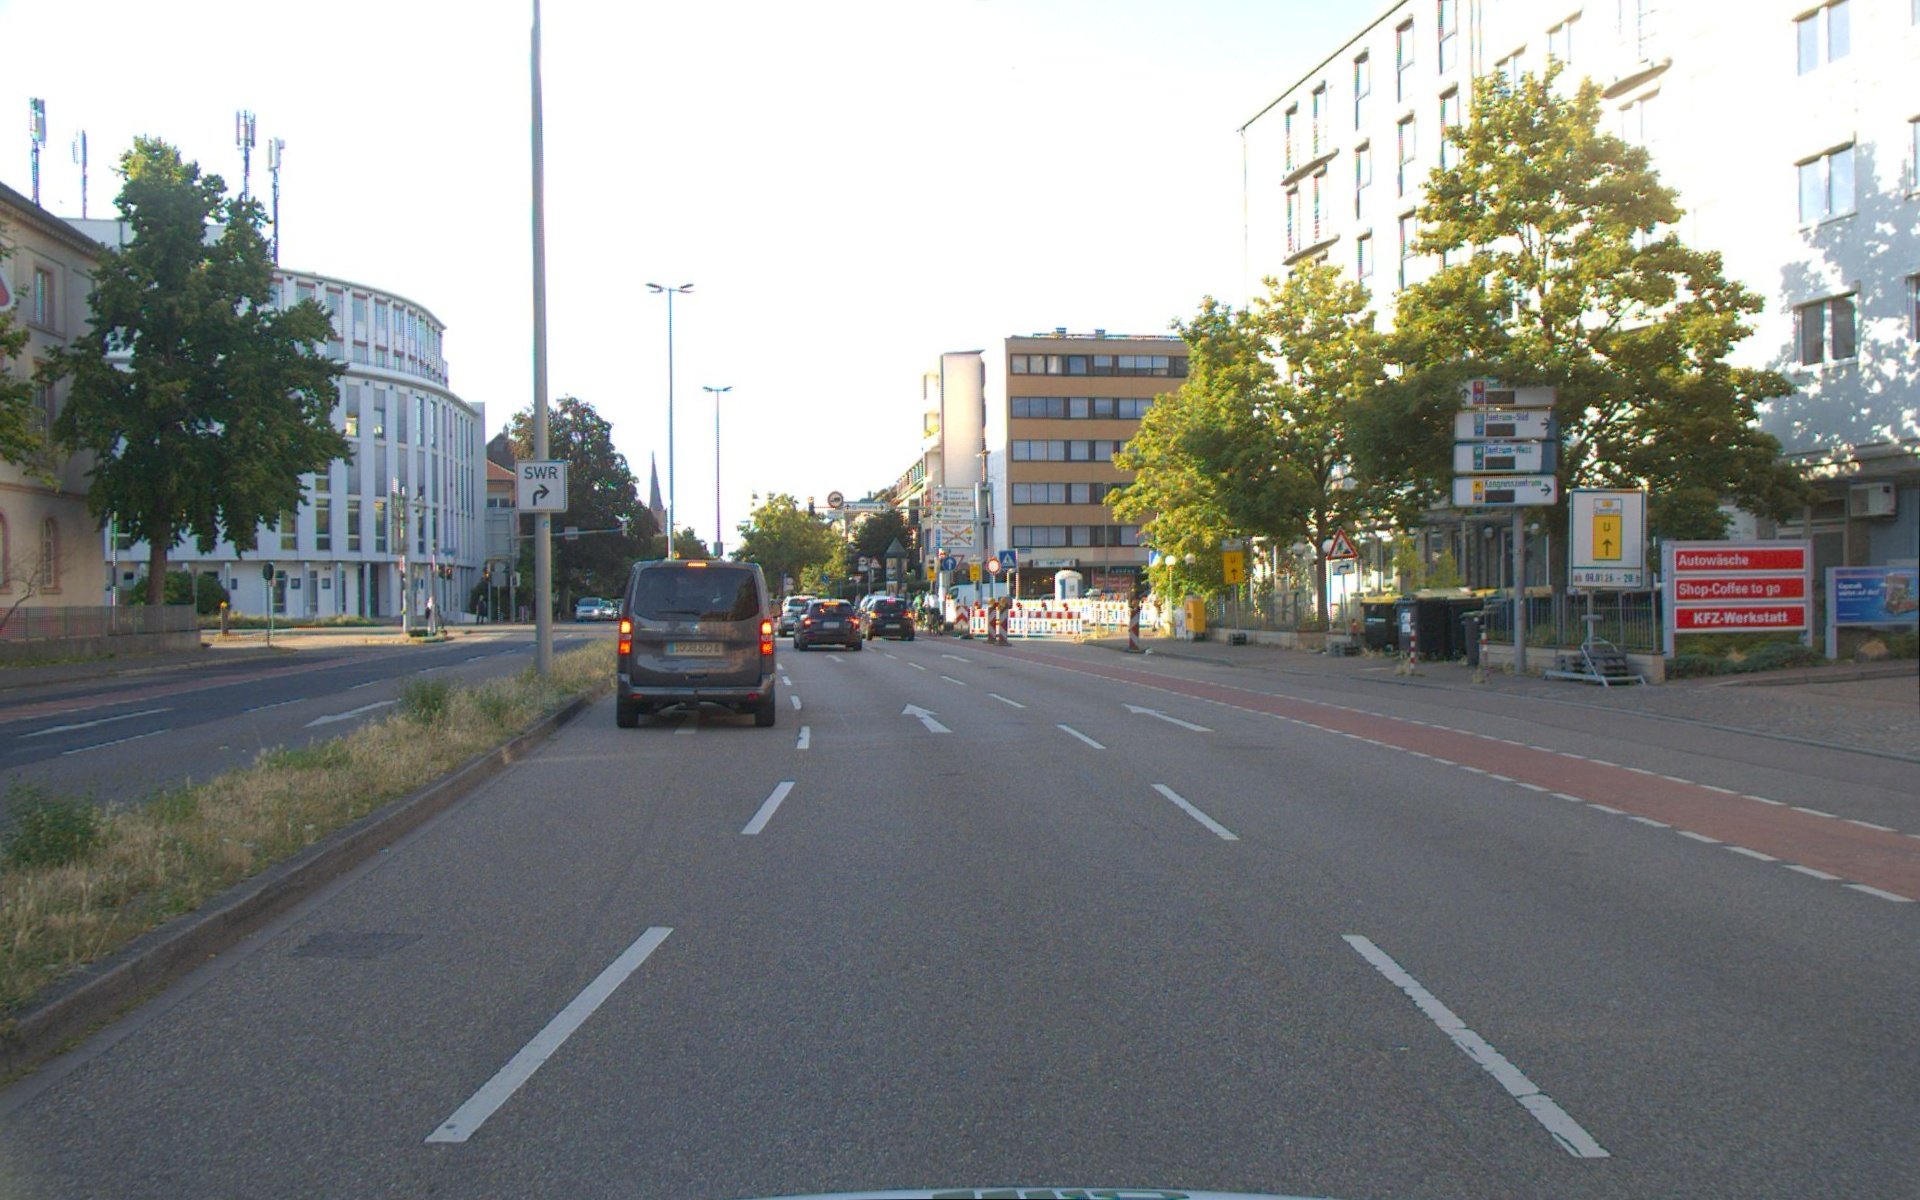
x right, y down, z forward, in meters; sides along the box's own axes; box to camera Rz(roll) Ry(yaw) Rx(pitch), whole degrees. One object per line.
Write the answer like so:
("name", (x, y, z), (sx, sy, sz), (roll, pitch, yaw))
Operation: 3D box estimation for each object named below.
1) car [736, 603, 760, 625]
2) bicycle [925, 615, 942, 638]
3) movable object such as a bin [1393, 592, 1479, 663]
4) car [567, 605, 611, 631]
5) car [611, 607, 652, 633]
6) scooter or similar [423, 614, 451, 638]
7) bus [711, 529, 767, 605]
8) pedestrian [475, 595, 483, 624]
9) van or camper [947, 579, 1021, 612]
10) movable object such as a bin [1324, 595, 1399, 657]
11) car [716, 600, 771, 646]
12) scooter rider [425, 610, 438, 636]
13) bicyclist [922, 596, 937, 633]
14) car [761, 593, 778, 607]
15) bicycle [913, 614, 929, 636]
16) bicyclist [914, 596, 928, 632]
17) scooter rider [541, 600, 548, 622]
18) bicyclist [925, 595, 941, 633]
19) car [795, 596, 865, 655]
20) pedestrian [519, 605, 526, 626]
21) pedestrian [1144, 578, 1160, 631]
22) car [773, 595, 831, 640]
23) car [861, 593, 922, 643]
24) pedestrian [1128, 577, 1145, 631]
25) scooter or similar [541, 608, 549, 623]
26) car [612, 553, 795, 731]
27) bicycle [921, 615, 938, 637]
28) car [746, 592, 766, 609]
("car", (-16.734, 1.103, 130.694), (1.708, 1.614, 3.995), (-1, 0, -6))
("bicycle", (-1.040, 1.039, 65.020), (0.523, 0.862, 1.681), (-1, 0, -6))
("movable object such as a bin", (10.296, 0.572, 35.874), (1.432, 1.479, 1.547), (-1, 0, 2))
("car", (-24.533, 1.185, 109.525), (1.953, 1.623, 4.000), (-1, 0, 0))
("car", (-21.846, 1.297, 110.124), (1.953, 1.623, 4.000), (-1, 0, 0))
("scooter or similar", (-21.978, 1.082, 69.528), (1.081, 0.994, 0.556), (1, 0, -17))
("bus", (-14.616, -2.051, 108.737), (3.230, 4.698, 9.976), (1, 0, -10))
("pedestrian", (-28.364, 0.548, 97.496), (0.369, 1.689, 0.567), (-1, 0, -11))
("van or camper", (1.571, -0.266, 107.483), (4.467, 2.049, 2.002), (-1, 0, 12))
("movable object such as a bin", (9.513, 0.610, 39.255), (1.432, 1.410, 1.547), (-1, 0, 2))
("car", (-8.343, 0.855, 63.566), (1.957, 1.685, 4.290), (-1, 0, -9))
("scooter rider", (-22.193, 0.968, 69.470), (0.501, 1.054, 0.444), (1, 0, -18))
("bicyclist", (-1.257, 0.570, 67.223), (0.530, 1.485, 0.640), (-1, 0, -6))
("car", (-24.442, 0.019, 211.965), (1.816, 1.738, 3.715), (-1, 0, -11))
("bicycle", (-1.638, 1.048, 69.805), (0.523, 0.862, 1.681), (-1, 0, -6))
("bicyclist", (-1.649, 0.579, 69.787), (0.530, 1.485, 0.640), (-1, 0, -6))
("scooter rider", (-26.318, 0.691, 104.733), (0.348, 1.397, 0.336), (-1, 0, -6))
("bicyclist", (-1.058, 0.563, 65.070), (0.530, 1.485, 0.640), (-1, 0, -6))
("car", (-3.647, 0.692, 47.011), (1.808, 1.571, 3.630), (-1, 0, -2))
("pedestrian", (-28.079, 1.004, 106.187), (0.347, 1.313, 0.379), (-1, 0, -6))
("pedestrian", (7.427, 0.176, 63.937), (0.481, 2.049, 0.664), (-1, 0, -3))
("car", (-6.185, 0.659, 64.388), (1.957, 1.685, 4.290), (-1, 0, -9))
("car", (-2.501, 0.619, 59.604), (1.955, 1.685, 4.294), (-1, 0, -5))
("pedestrian", (6.818, 0.154, 63.909), (0.481, 2.049, 0.663), (-1, 0, -7))
("scooter or similar", (-26.315, 0.988, 104.785), (0.351, 0.911, 0.903), (-1, 0, -6))
("car", (-3.183, 0.441, 20.506), (1.957, 1.934, 4.290), (2, 1, -9))
("bicycle", (-1.246, 1.041, 67.247), (0.523, 0.862, 1.681), (-1, 0, -6))
("car", (-21.590, 0.047, 174.974), (1.816, 1.738, 3.715), (-1, 0, -11))
